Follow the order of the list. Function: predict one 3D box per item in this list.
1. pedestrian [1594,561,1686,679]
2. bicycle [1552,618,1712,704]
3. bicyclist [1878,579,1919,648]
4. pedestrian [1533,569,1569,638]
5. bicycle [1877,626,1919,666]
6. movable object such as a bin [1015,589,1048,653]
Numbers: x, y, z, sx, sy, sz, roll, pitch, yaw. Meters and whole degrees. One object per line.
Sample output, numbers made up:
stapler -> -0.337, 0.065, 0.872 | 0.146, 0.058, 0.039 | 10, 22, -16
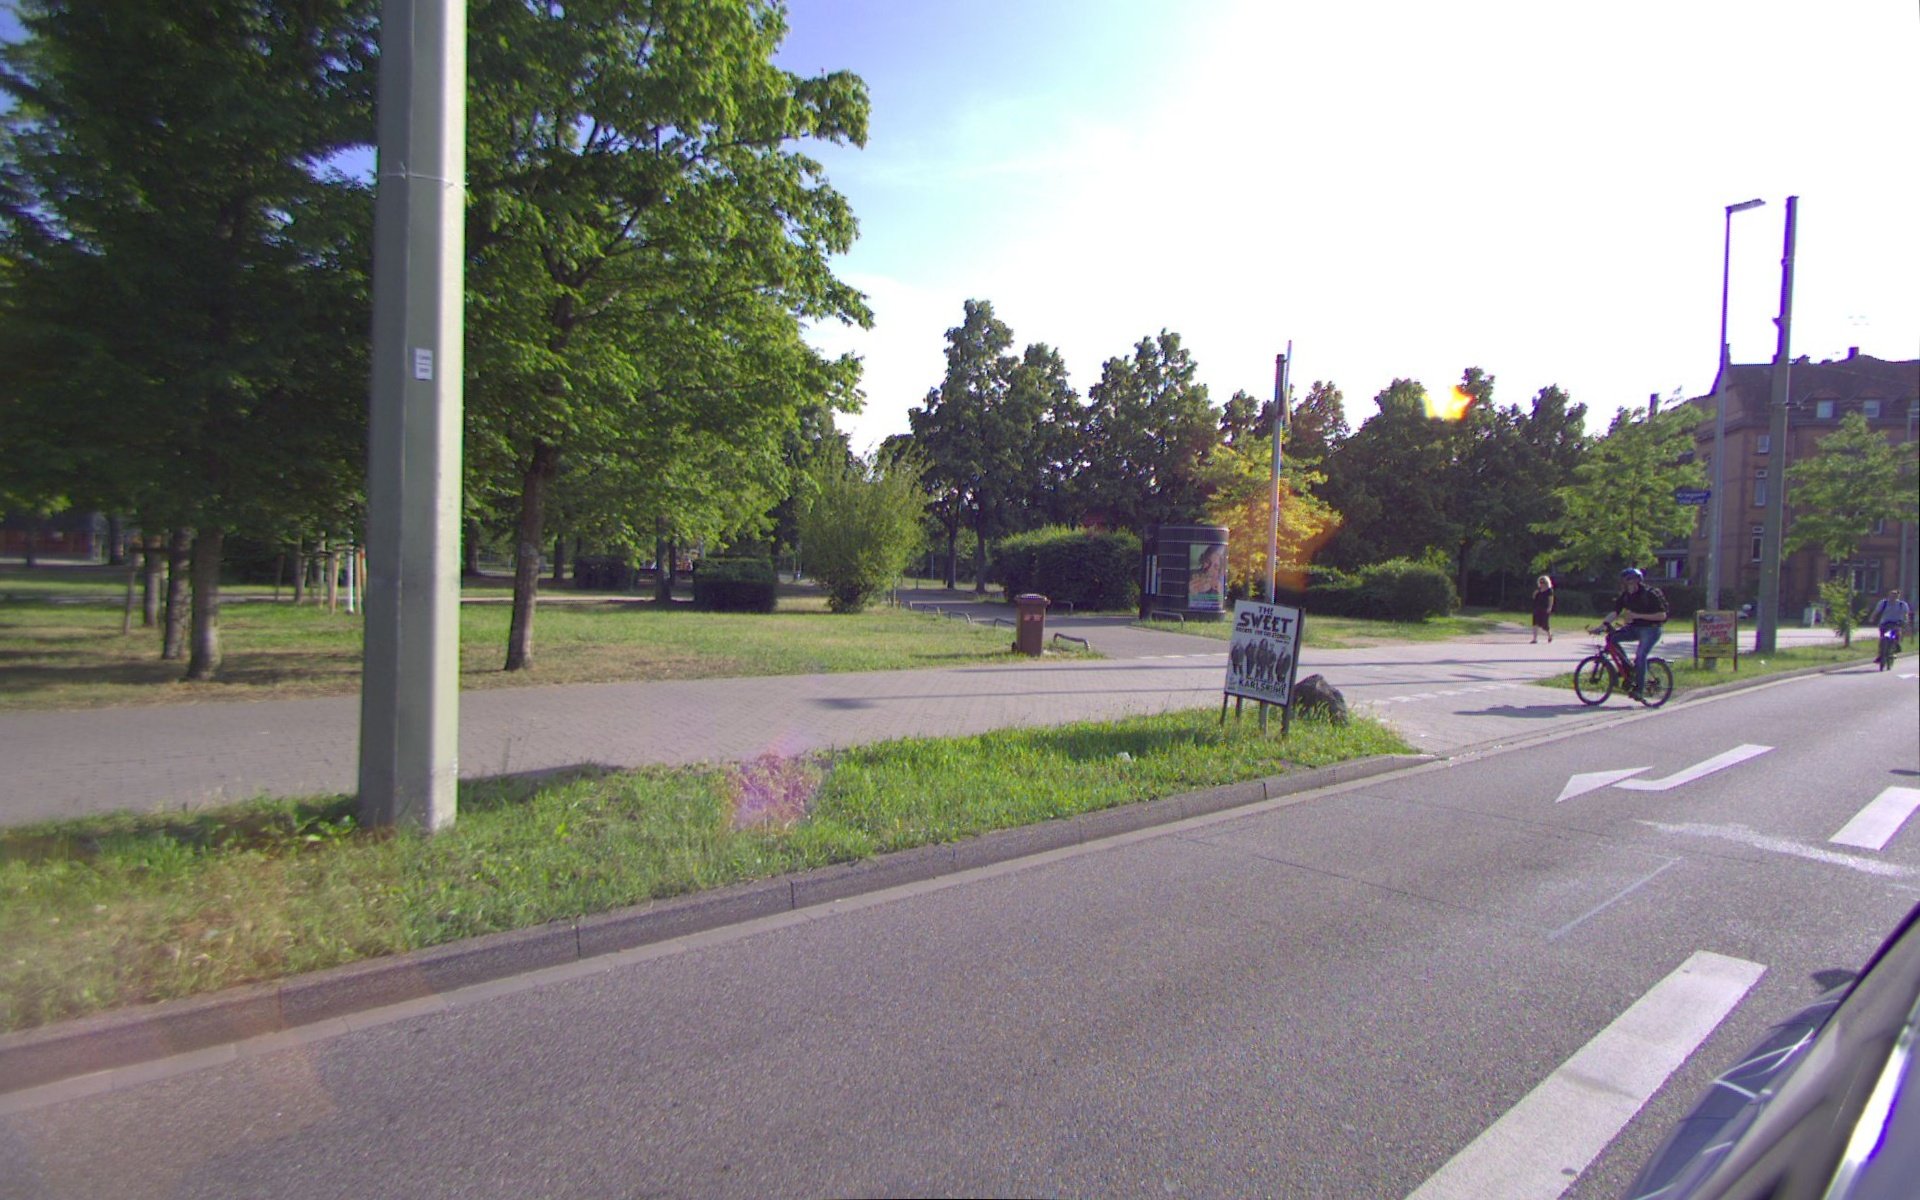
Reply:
pedestrian -> 9.158, 0.251, 13.640 | 0.827, 1.540, 0.638 | 0, 0, -15
bicycle -> 8.972, 0.792, 13.527 | 1.939, 1.059, 0.653 | 0, 0, -15
bicyclist -> 21.153, 0.290, 22.692 | 1.092, 1.472, 0.688 | 0, 2, -42
pedestrian -> 14.821, 0.079, 25.378 | 0.607, 1.706, 0.621 | 1, 0, -40
bicycle -> 21.106, 1.019, 22.711 | 2.006, 0.803, 0.567 | 0, 2, -42
movable object such as a bin -> 1.089, 0.305, 15.459 | 0.447, 0.929, 0.605 | 2, 2, 1
